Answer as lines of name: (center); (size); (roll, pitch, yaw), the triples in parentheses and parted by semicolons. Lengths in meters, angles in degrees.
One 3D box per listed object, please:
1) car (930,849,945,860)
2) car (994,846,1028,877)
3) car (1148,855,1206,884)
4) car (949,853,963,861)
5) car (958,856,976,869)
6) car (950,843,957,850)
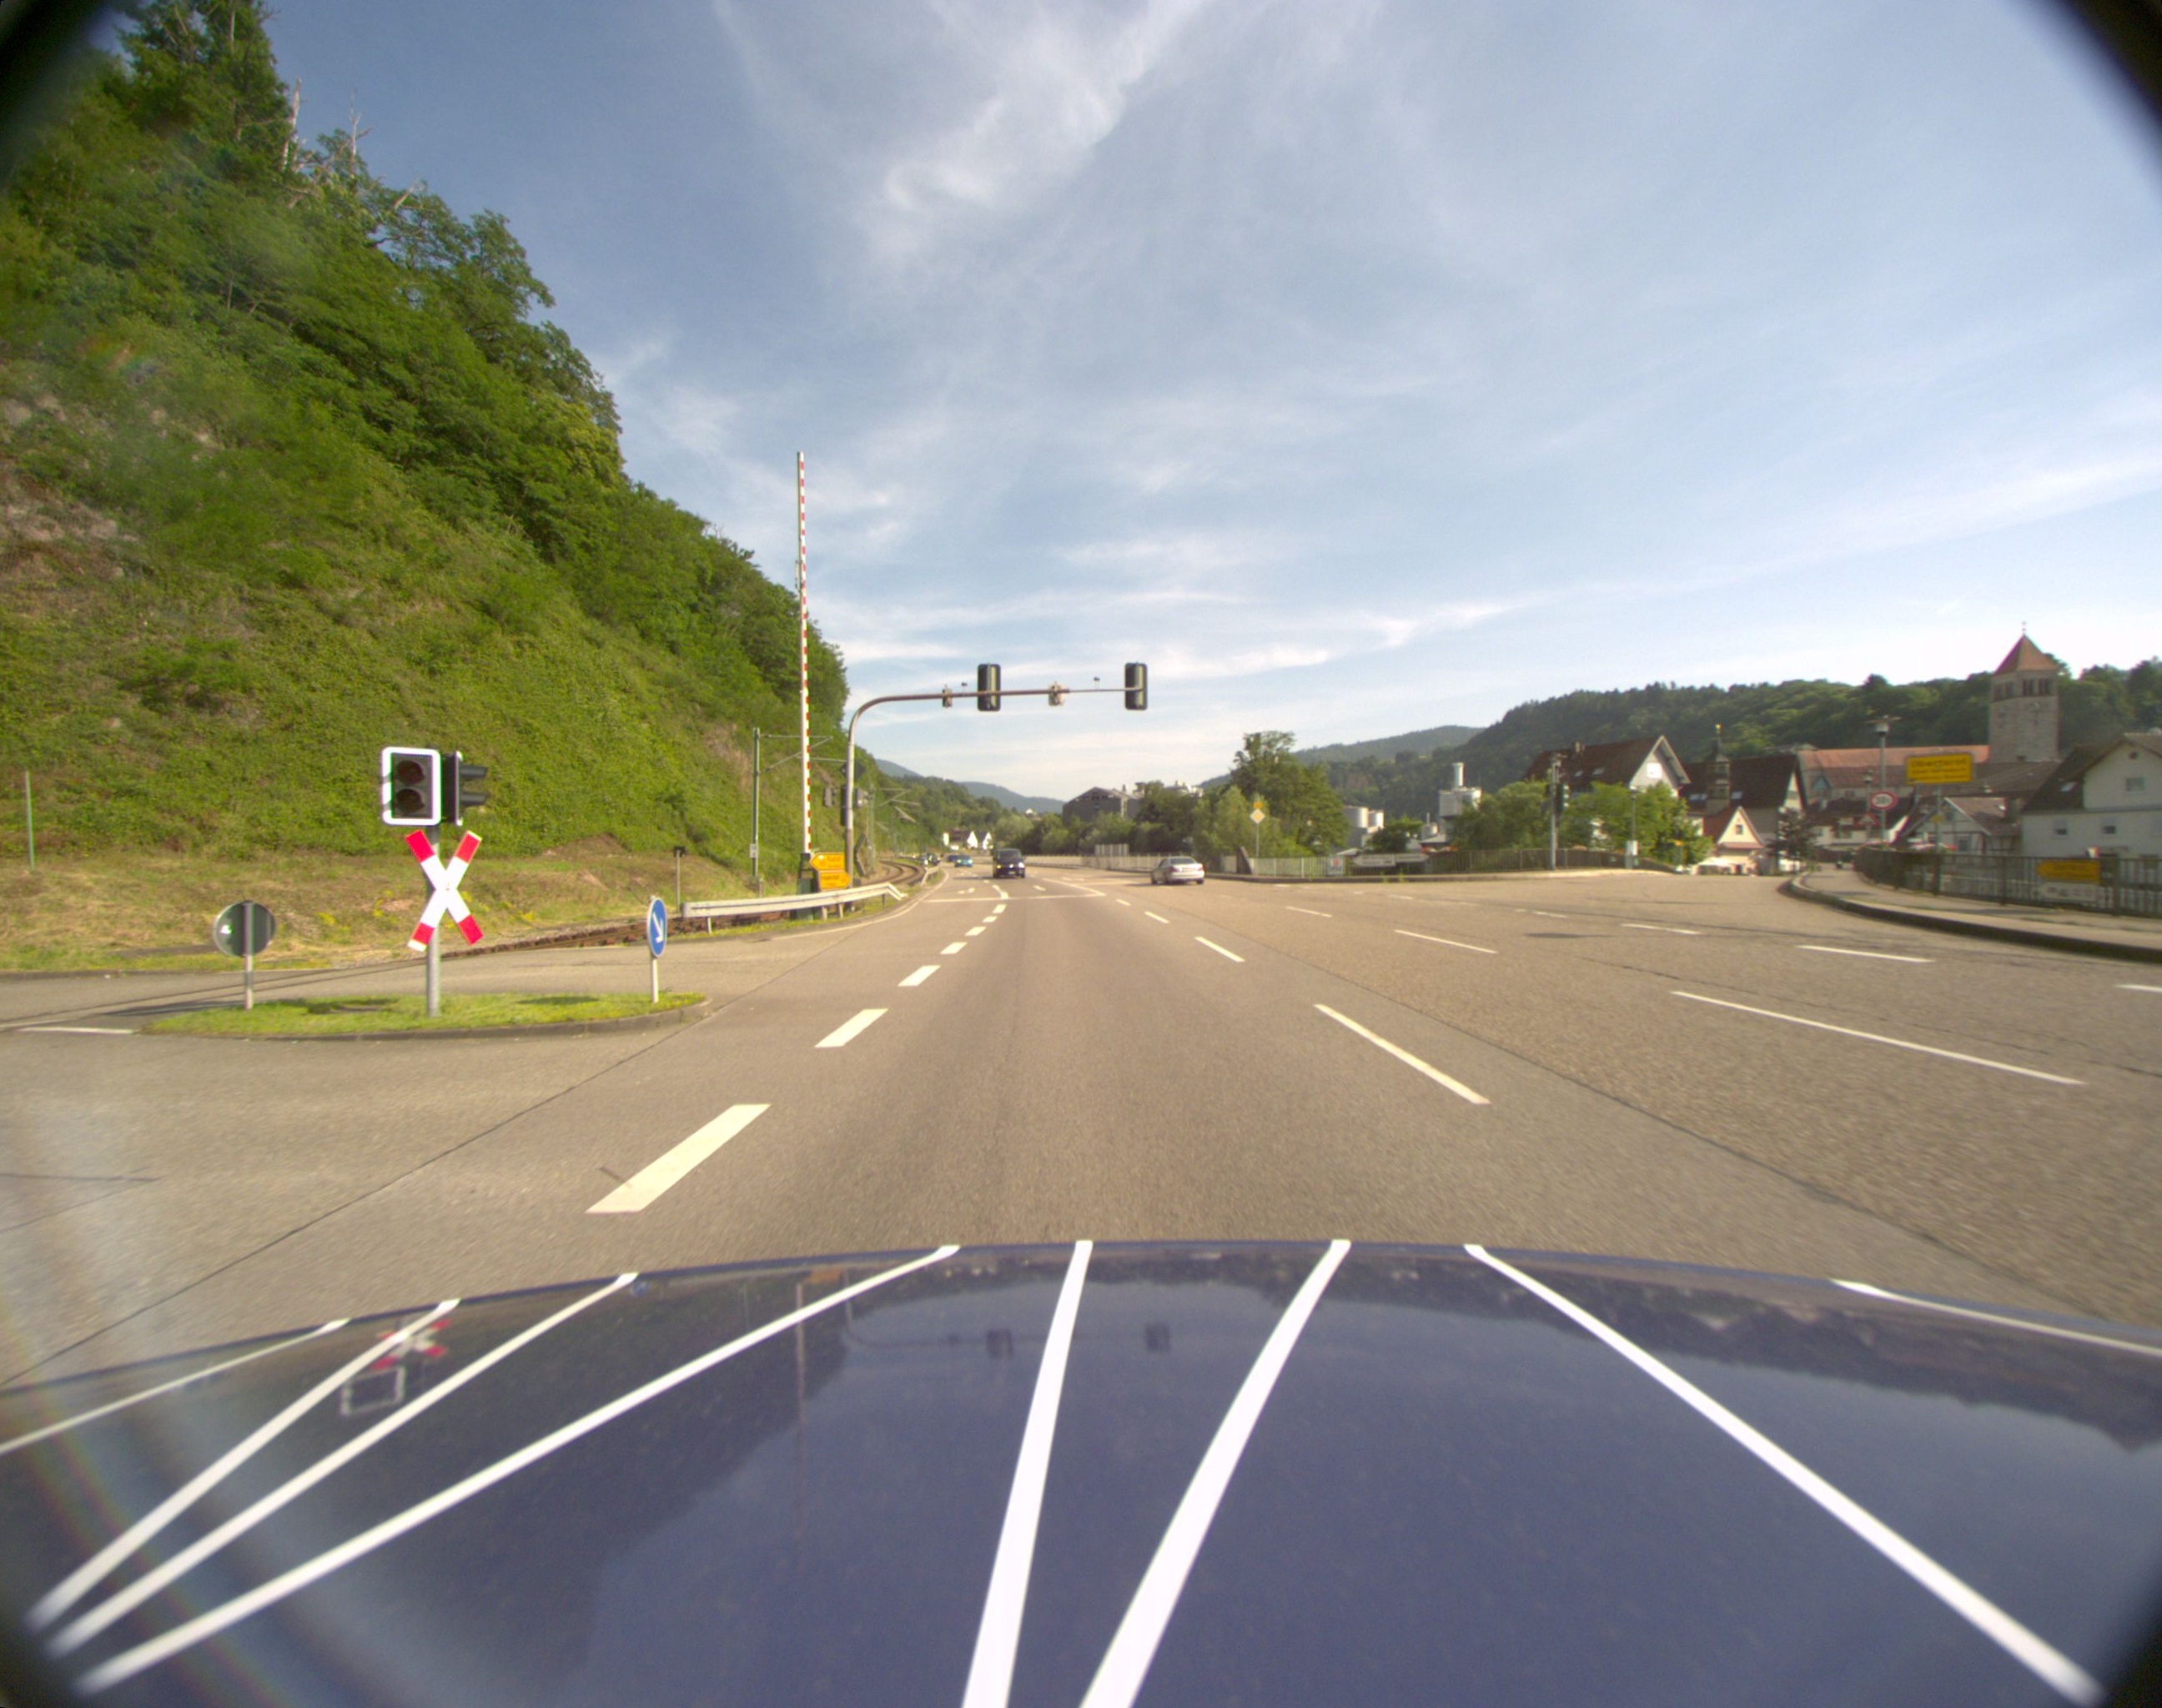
car: (-23.697, 0.100, 125.432); (2.001, 1.783, 3.994); (-1, 1, -16)
car: (-4.748, 0.504, 51.050); (1.910, 1.868, 4.344); (-3, 0, -9)
car: (4.313, 0.678, 34.733); (1.650, 1.224, 4.090); (-1, 0, -8)
car: (-22.223, 0.503, 134.785); (1.789, 1.473, 4.518); (-1, 1, -17)
car: (-13.422, 0.997, 89.301); (1.770, 1.452, 3.571); (1, 1, -13)
car: (-41.927, -2.480, 250.281); (2.000, 2.002, 3.996); (-2, 1, -11)
